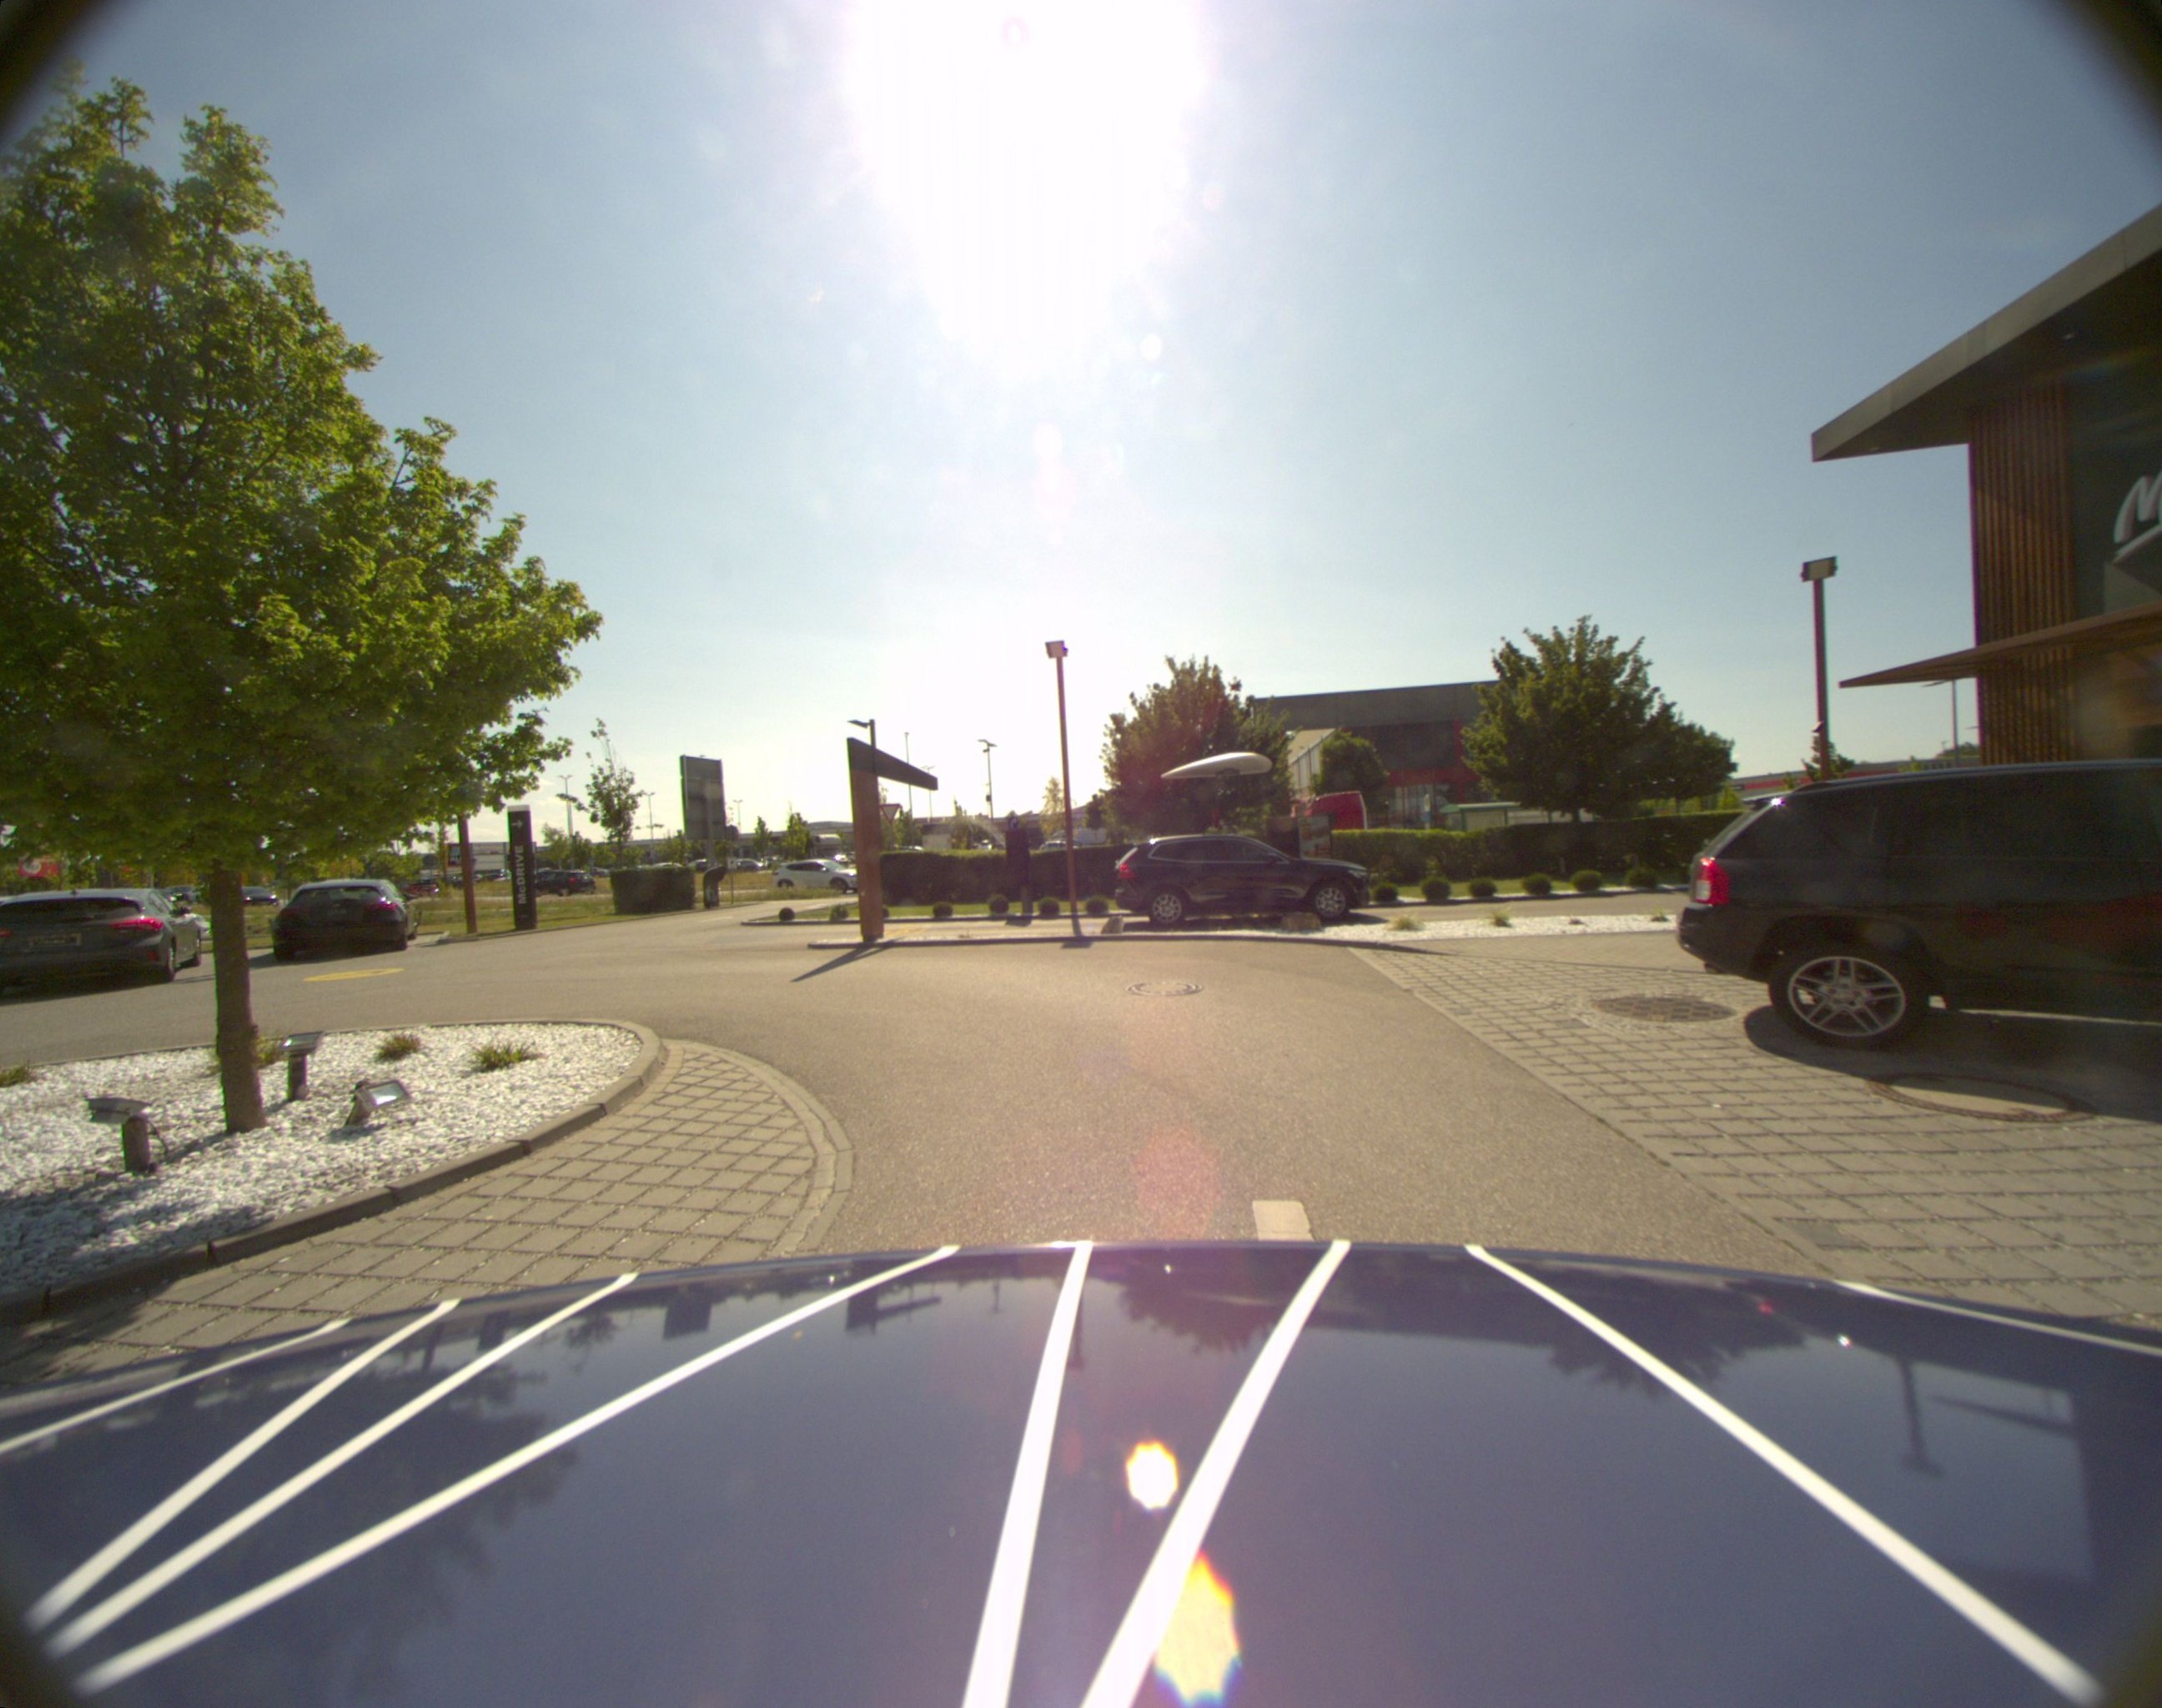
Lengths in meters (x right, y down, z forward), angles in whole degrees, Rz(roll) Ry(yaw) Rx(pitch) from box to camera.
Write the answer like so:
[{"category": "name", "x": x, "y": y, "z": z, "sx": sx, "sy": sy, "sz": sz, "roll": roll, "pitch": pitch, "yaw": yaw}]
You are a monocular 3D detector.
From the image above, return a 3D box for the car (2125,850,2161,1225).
[{"category": "car", "x": 5.249, "y": 0.655, "z": 1.269, "sx": 3.762, "sy": 1.435, "sz": 1.678, "roll": -3, "pitch": 0, "yaw": 36}]

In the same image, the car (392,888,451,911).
[{"category": "car", "x": -48.056, "y": 3.317, "z": 55.399, "sx": 3.569, "sy": 1.436, "sz": 1.637, "roll": -2, "pitch": 1, "yaw": 20}]

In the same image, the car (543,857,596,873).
[{"category": "car", "x": -51.255, "y": 1.075, "z": 76.237, "sx": 4.000, "sy": 1.455, "sz": 1.759, "roll": -3, "pitch": 1, "yaw": -11}]

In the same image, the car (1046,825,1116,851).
[{"category": "car", "x": 0.037, "y": -1.568, "z": 75.541, "sx": 6.563, "sy": 2.231, "sz": 2.301, "roll": -3, "pitch": 1, "yaw": 7}]

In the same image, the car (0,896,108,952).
[{"category": "car", "x": -31.780, "y": 2.109, "z": 22.153, "sx": 1.684, "sy": 1.445, "sz": 3.759, "roll": -2, "pitch": 1, "yaw": 15}]

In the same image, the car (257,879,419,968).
[{"category": "car", "x": -14.643, "y": 1.275, "z": 15.201, "sx": 1.917, "sy": 1.414, "sz": 3.765, "roll": -3, "pitch": 1, "yaw": -39}]

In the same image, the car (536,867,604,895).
[{"category": "car", "x": -32.529, "y": 1.699, "z": 48.418, "sx": 3.445, "sy": 1.587, "sz": 1.566, "roll": -2, "pitch": 1, "yaw": 12}]

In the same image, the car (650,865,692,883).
[{"category": "car", "x": -39.930, "y": 1.974, "z": 74.066, "sx": 1.536, "sy": 1.547, "sz": 3.226, "roll": -2, "pitch": 1, "yaw": 35}]

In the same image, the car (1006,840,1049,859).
[{"category": "car", "x": -5.473, "y": -0.463, "z": 77.941, "sx": 1.889, "sy": 1.718, "sz": 4.265, "roll": -2, "pitch": 1, "yaw": 39}]

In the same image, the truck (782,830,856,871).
[{"category": "truck", "x": -22.792, "y": -0.229, "z": 65.944, "sx": 7.544, "sy": 3.333, "sz": 2.427, "roll": -1, "pitch": 2, "yaw": 41}]

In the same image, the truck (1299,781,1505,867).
[{"category": "truck", "x": 16.252, "y": -1.465, "z": 39.143, "sx": 9.118, "sy": 3.844, "sz": 3.211, "roll": -2, "pitch": 1, "yaw": 8}]

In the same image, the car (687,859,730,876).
[{"category": "car", "x": -34.685, "y": 1.266, "z": 70.826, "sx": 1.536, "sy": 1.376, "sz": 3.226, "roll": -2, "pitch": 1, "yaw": 35}]

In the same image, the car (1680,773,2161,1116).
[{"category": "car", "x": 6.029, "y": 0.405, "z": 4.210, "sx": 1.678, "sy": 1.696, "sz": 4.028, "roll": -4, "pitch": 1, "yaw": -44}]

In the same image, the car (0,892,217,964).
[{"category": "car", "x": -25.088, "y": 1.812, "z": 18.982, "sx": 1.885, "sy": 1.390, "sz": 4.159, "roll": -2, "pitch": 1, "yaw": 15}]

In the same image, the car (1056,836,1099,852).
[{"category": "car", "x": -0.320, "y": -0.950, "z": 72.130, "sx": 3.903, "sy": 1.334, "sz": 1.666, "roll": -3, "pitch": 1, "yaw": 7}]

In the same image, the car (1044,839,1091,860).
[{"category": "car", "x": -1.164, "y": -0.411, "z": 67.249, "sx": 3.996, "sy": 1.718, "sz": 1.894, "roll": -3, "pitch": 1, "yaw": 4}]

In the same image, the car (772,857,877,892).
[{"category": "car", "x": -12.081, "y": 0.951, "z": 35.893, "sx": 4.316, "sy": 1.414, "sz": 1.736, "roll": -2, "pitch": 1, "yaw": 10}]

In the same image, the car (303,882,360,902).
[{"category": "car", "x": -61.635, "y": 3.098, "z": 62.503, "sx": 3.991, "sy": 1.455, "sz": 1.763, "roll": -2, "pitch": 1, "yaw": 21}]

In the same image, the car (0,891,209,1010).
[{"category": "car", "x": -15.189, "y": 1.360, "z": 11.791, "sx": 1.801, "sy": 1.414, "sz": 4.075, "roll": -3, "pitch": 1, "yaw": -44}]

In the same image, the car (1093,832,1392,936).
[{"category": "car", "x": 2.866, "y": 0.531, "z": 14.200, "sx": 5.058, "sy": 1.620, "sz": 1.925, "roll": -3, "pitch": 1, "yaw": 6}]
